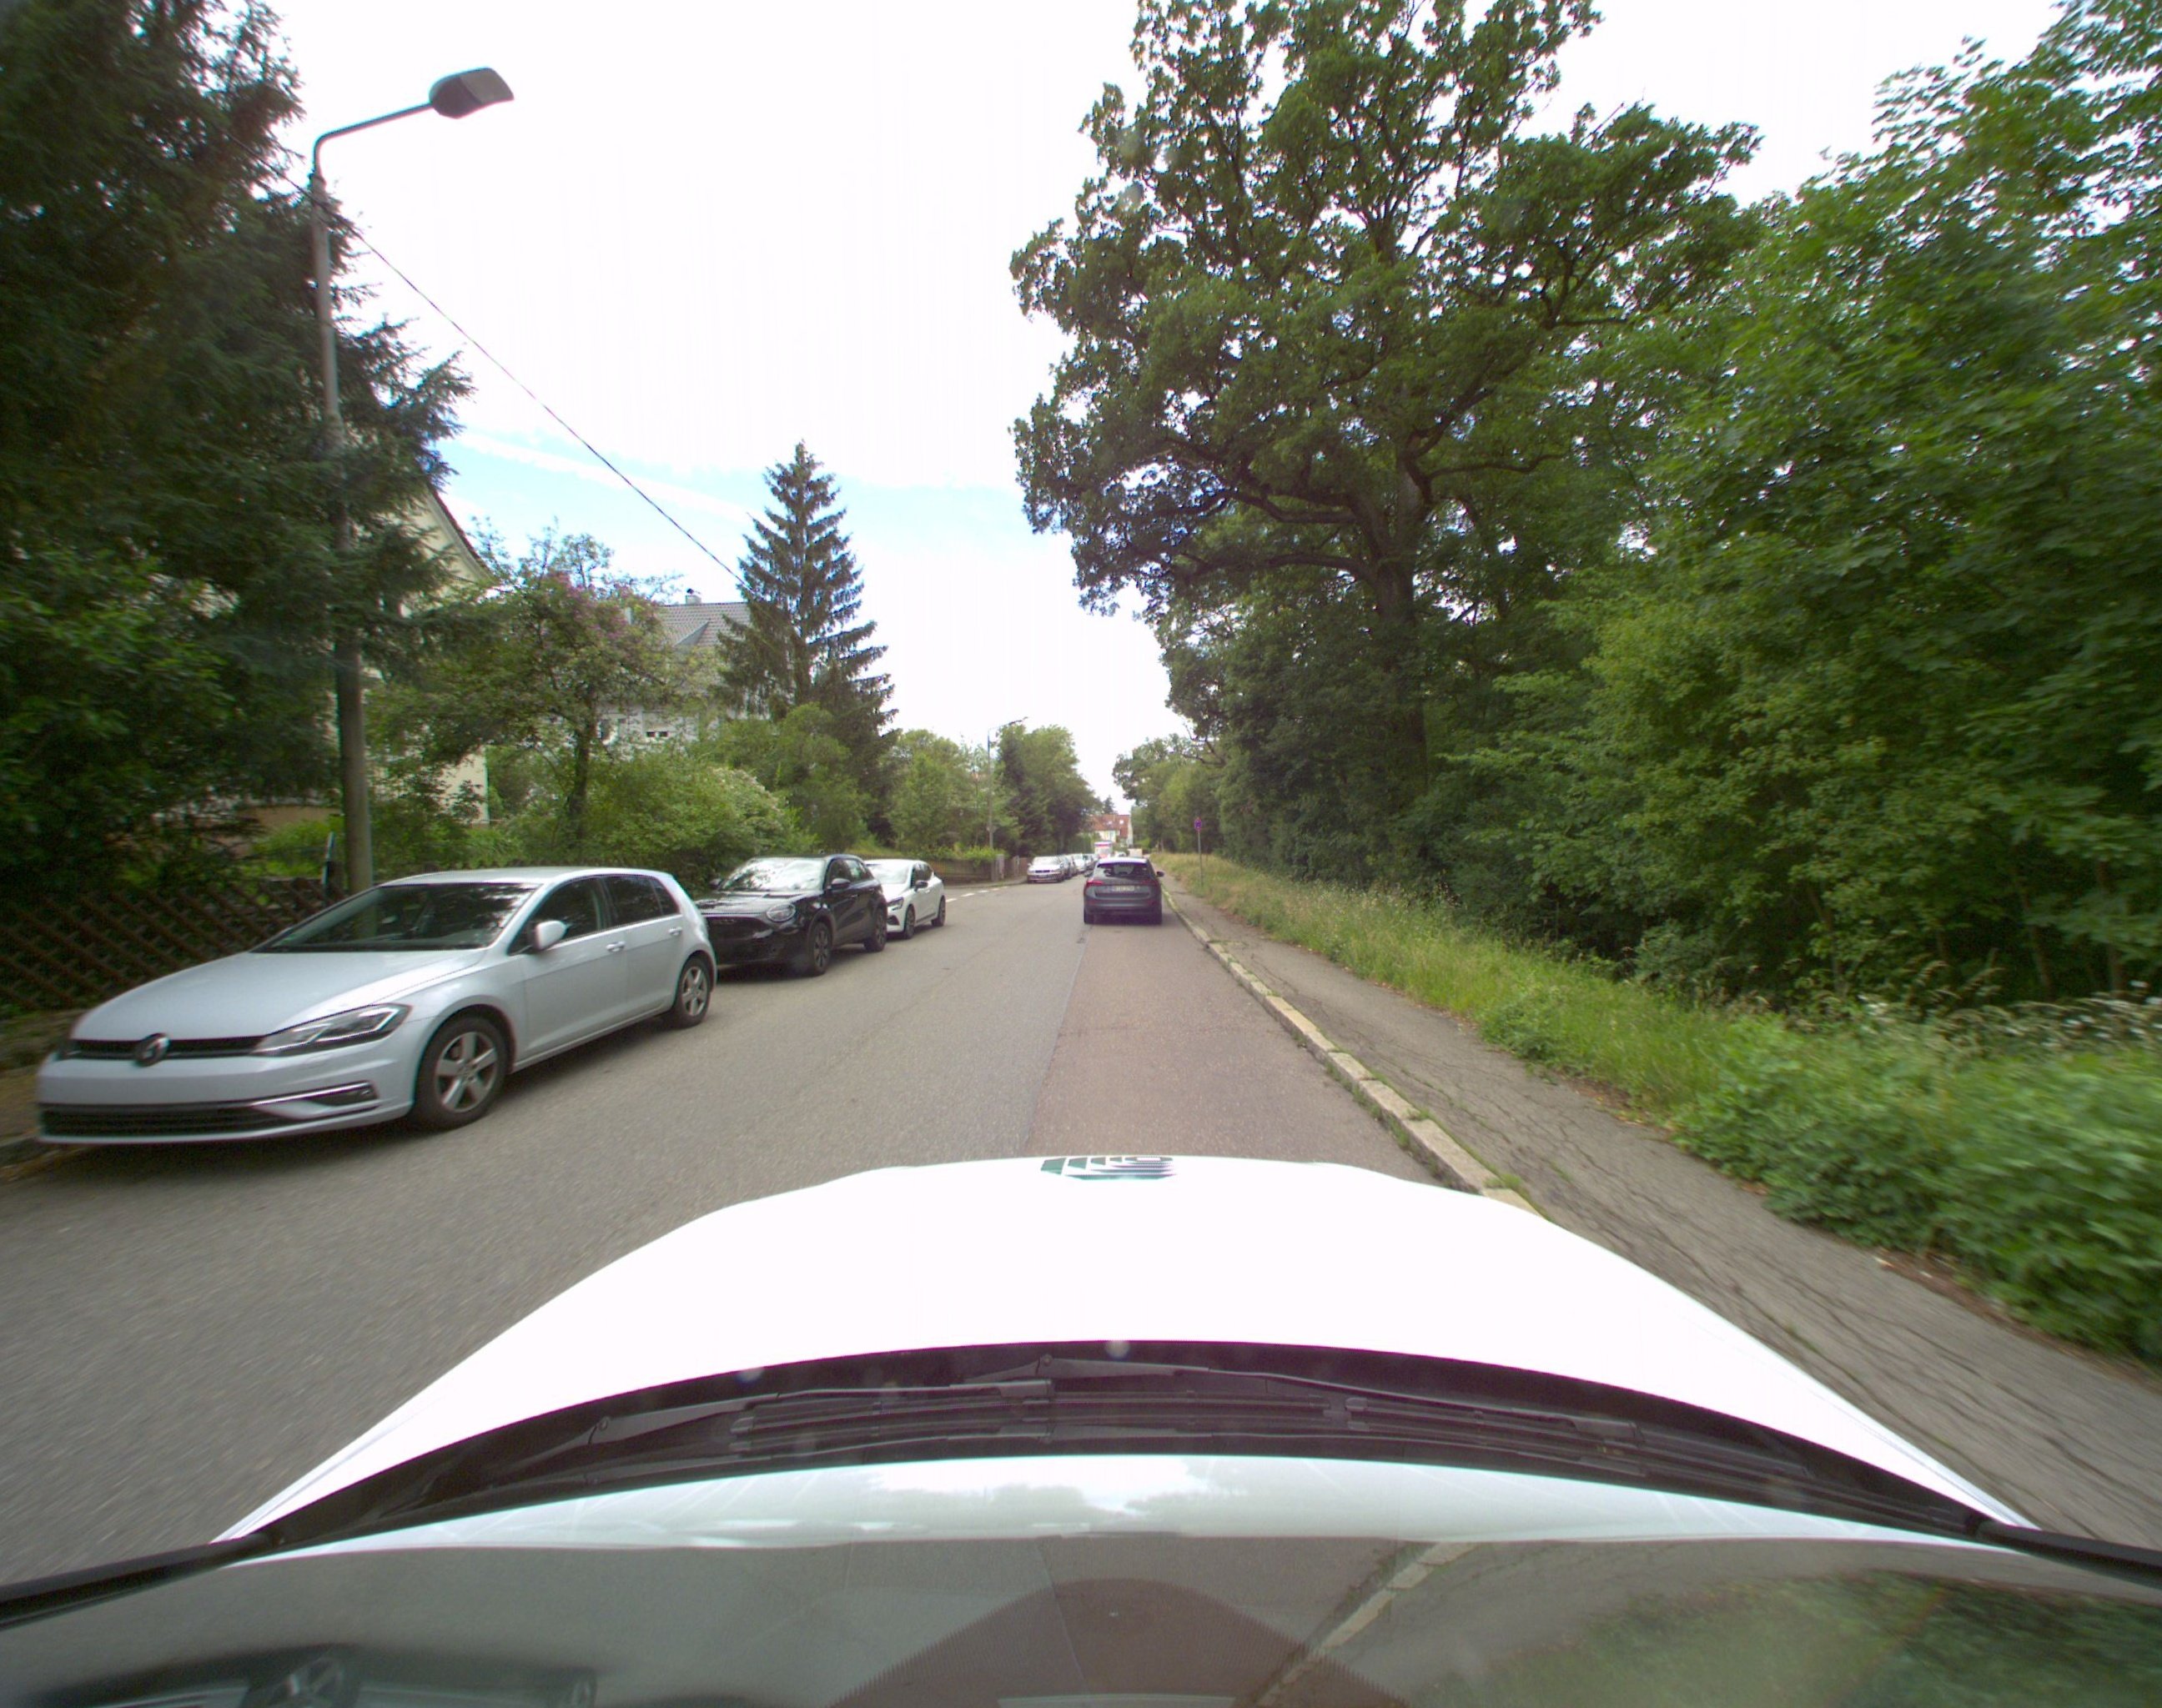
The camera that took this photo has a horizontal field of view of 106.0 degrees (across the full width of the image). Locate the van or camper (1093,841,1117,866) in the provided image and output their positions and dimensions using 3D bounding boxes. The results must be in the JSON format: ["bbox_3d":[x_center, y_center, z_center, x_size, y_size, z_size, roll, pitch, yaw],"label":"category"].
[{"bbox_3d":[2.813,-0.094,99.020,2.449,2.895,7.163,-2,0,-2],"label":"van or camper"}]

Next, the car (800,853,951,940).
[{"bbox_3d":[-3.874,0.731,16.070,1.776,1.500,4.017,0,0,3],"label":"car"}]

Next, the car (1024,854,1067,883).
[{"bbox_3d":[-1.872,0.730,44.282,1.841,1.439,4.913,-2,0,2],"label":"car"}]

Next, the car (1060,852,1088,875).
[{"bbox_3d":[-0.491,0.711,63.269,1.909,1.562,4.605,-3,0,1],"label":"car"}]

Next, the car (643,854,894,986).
[{"bbox_3d":[-4.047,0.755,11.338,1.776,1.500,4.017,0,0,3],"label":"car"}]

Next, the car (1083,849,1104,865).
[{"bbox_3d":[1.368,0.306,86.204,1.789,1.505,4.871,-3,0,6],"label":"car"}]

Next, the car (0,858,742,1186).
[{"bbox_3d":[-4.280,0.781,5.879,1.777,1.439,4.325,0,0,1],"label":"car"}]

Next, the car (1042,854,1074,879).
[{"bbox_3d":[-1.393,0.749,50.247,1.728,1.439,4.263,-2,0,1],"label":"car"}]

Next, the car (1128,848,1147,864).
[{"bbox_3d":[7.133,0.241,102.924,2.064,1.922,4.923,0,0,1],"label":"car"}]

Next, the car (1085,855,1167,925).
[{"bbox_3d":[0.987,0.759,19.240,1.722,1.439,4.325,0,0,1],"label":"car"}]

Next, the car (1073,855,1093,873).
[{"bbox_3d":[0.215,0.910,73.841,1.715,1.505,4.007,-3,0,0],"label":"car"}]

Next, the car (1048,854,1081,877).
[{"bbox_3d":[-1.110,0.790,55.847,1.826,1.439,4.121,-2,0,4],"label":"car"}]
